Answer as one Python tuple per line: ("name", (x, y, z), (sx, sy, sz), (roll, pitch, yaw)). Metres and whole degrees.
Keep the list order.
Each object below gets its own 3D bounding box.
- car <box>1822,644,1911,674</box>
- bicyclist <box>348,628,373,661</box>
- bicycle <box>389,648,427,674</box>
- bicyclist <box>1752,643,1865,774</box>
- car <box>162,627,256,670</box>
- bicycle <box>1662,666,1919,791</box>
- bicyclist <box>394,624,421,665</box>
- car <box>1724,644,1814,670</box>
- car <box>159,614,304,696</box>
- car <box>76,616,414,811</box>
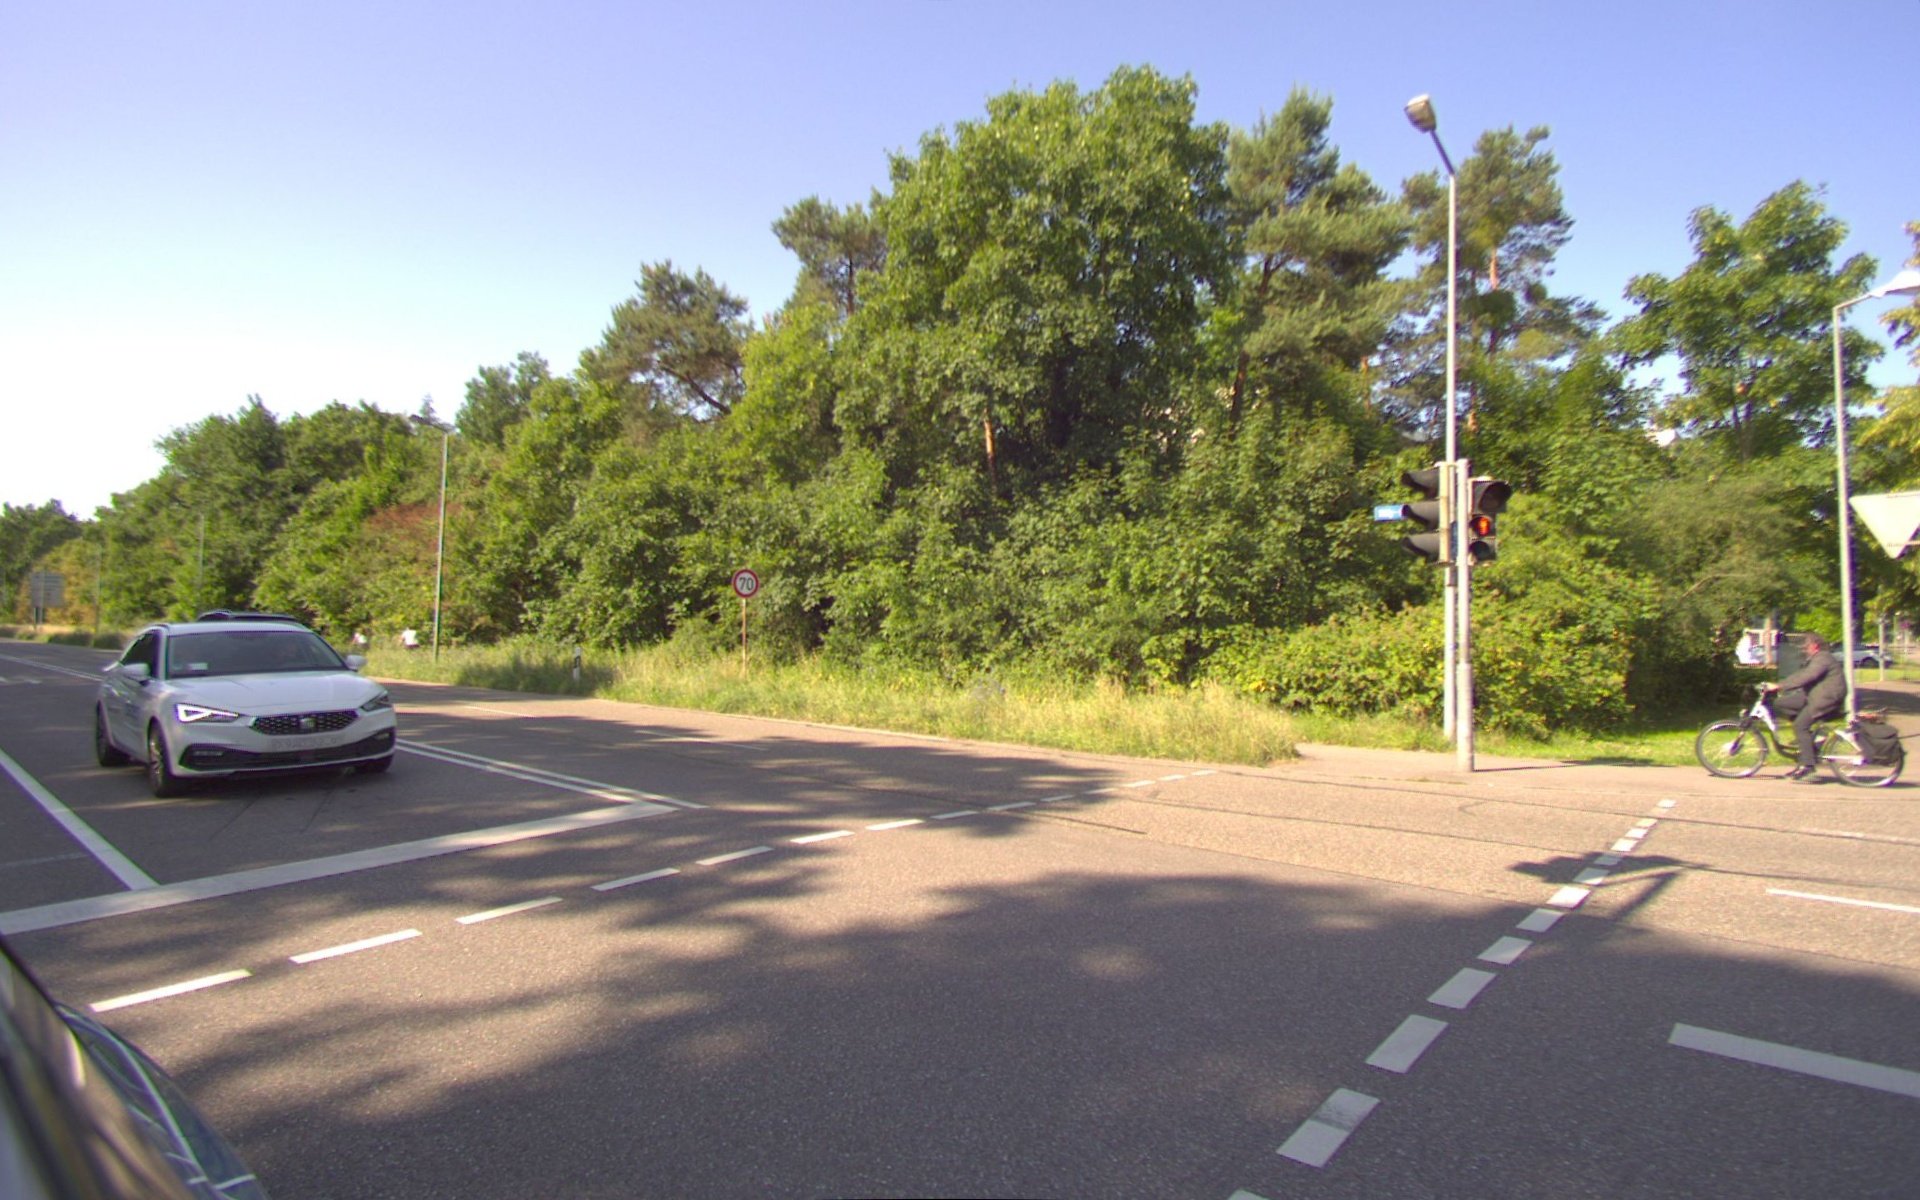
("car", (55.311, 3.586, 61.823), (1.572, 1.575, 3.719), (0, 0, -25))
("bicyclist", (-24.051, 1.763, 40.584), (0.727, 1.273, 0.693), (-1, 0, 44))
("bicycle", (-20.272, 2.225, 37.139), (2.139, 0.921, 0.597), (-2, -3, 44))
("bicyclist", (9.125, 1.131, 10.911), (0.883, 1.321, 0.714), (-1, -3, 40))
("car", (-26.954, 1.729, 36.278), (4.457, 1.444, 1.685), (-2, -4, 40))
("bicycle", (9.074, 1.339, 10.937), (2.371, 1.172, 0.725), (-1, -3, 41))
("bicyclist", (-20.267, 1.629, 37.136), (0.945, 1.477, 0.603), (-1, 0, 44))
("car", (52.838, 3.685, 66.152), (1.748, 1.497, 4.283), (0, 0, -39))
("car", (-16.713, 1.199, 23.148), (4.391, 1.710, 1.771), (-1, -3, 42))
("car", (-7.049, 0.917, 9.775), (4.422, 1.435, 1.765), (-2, -1, 42))
